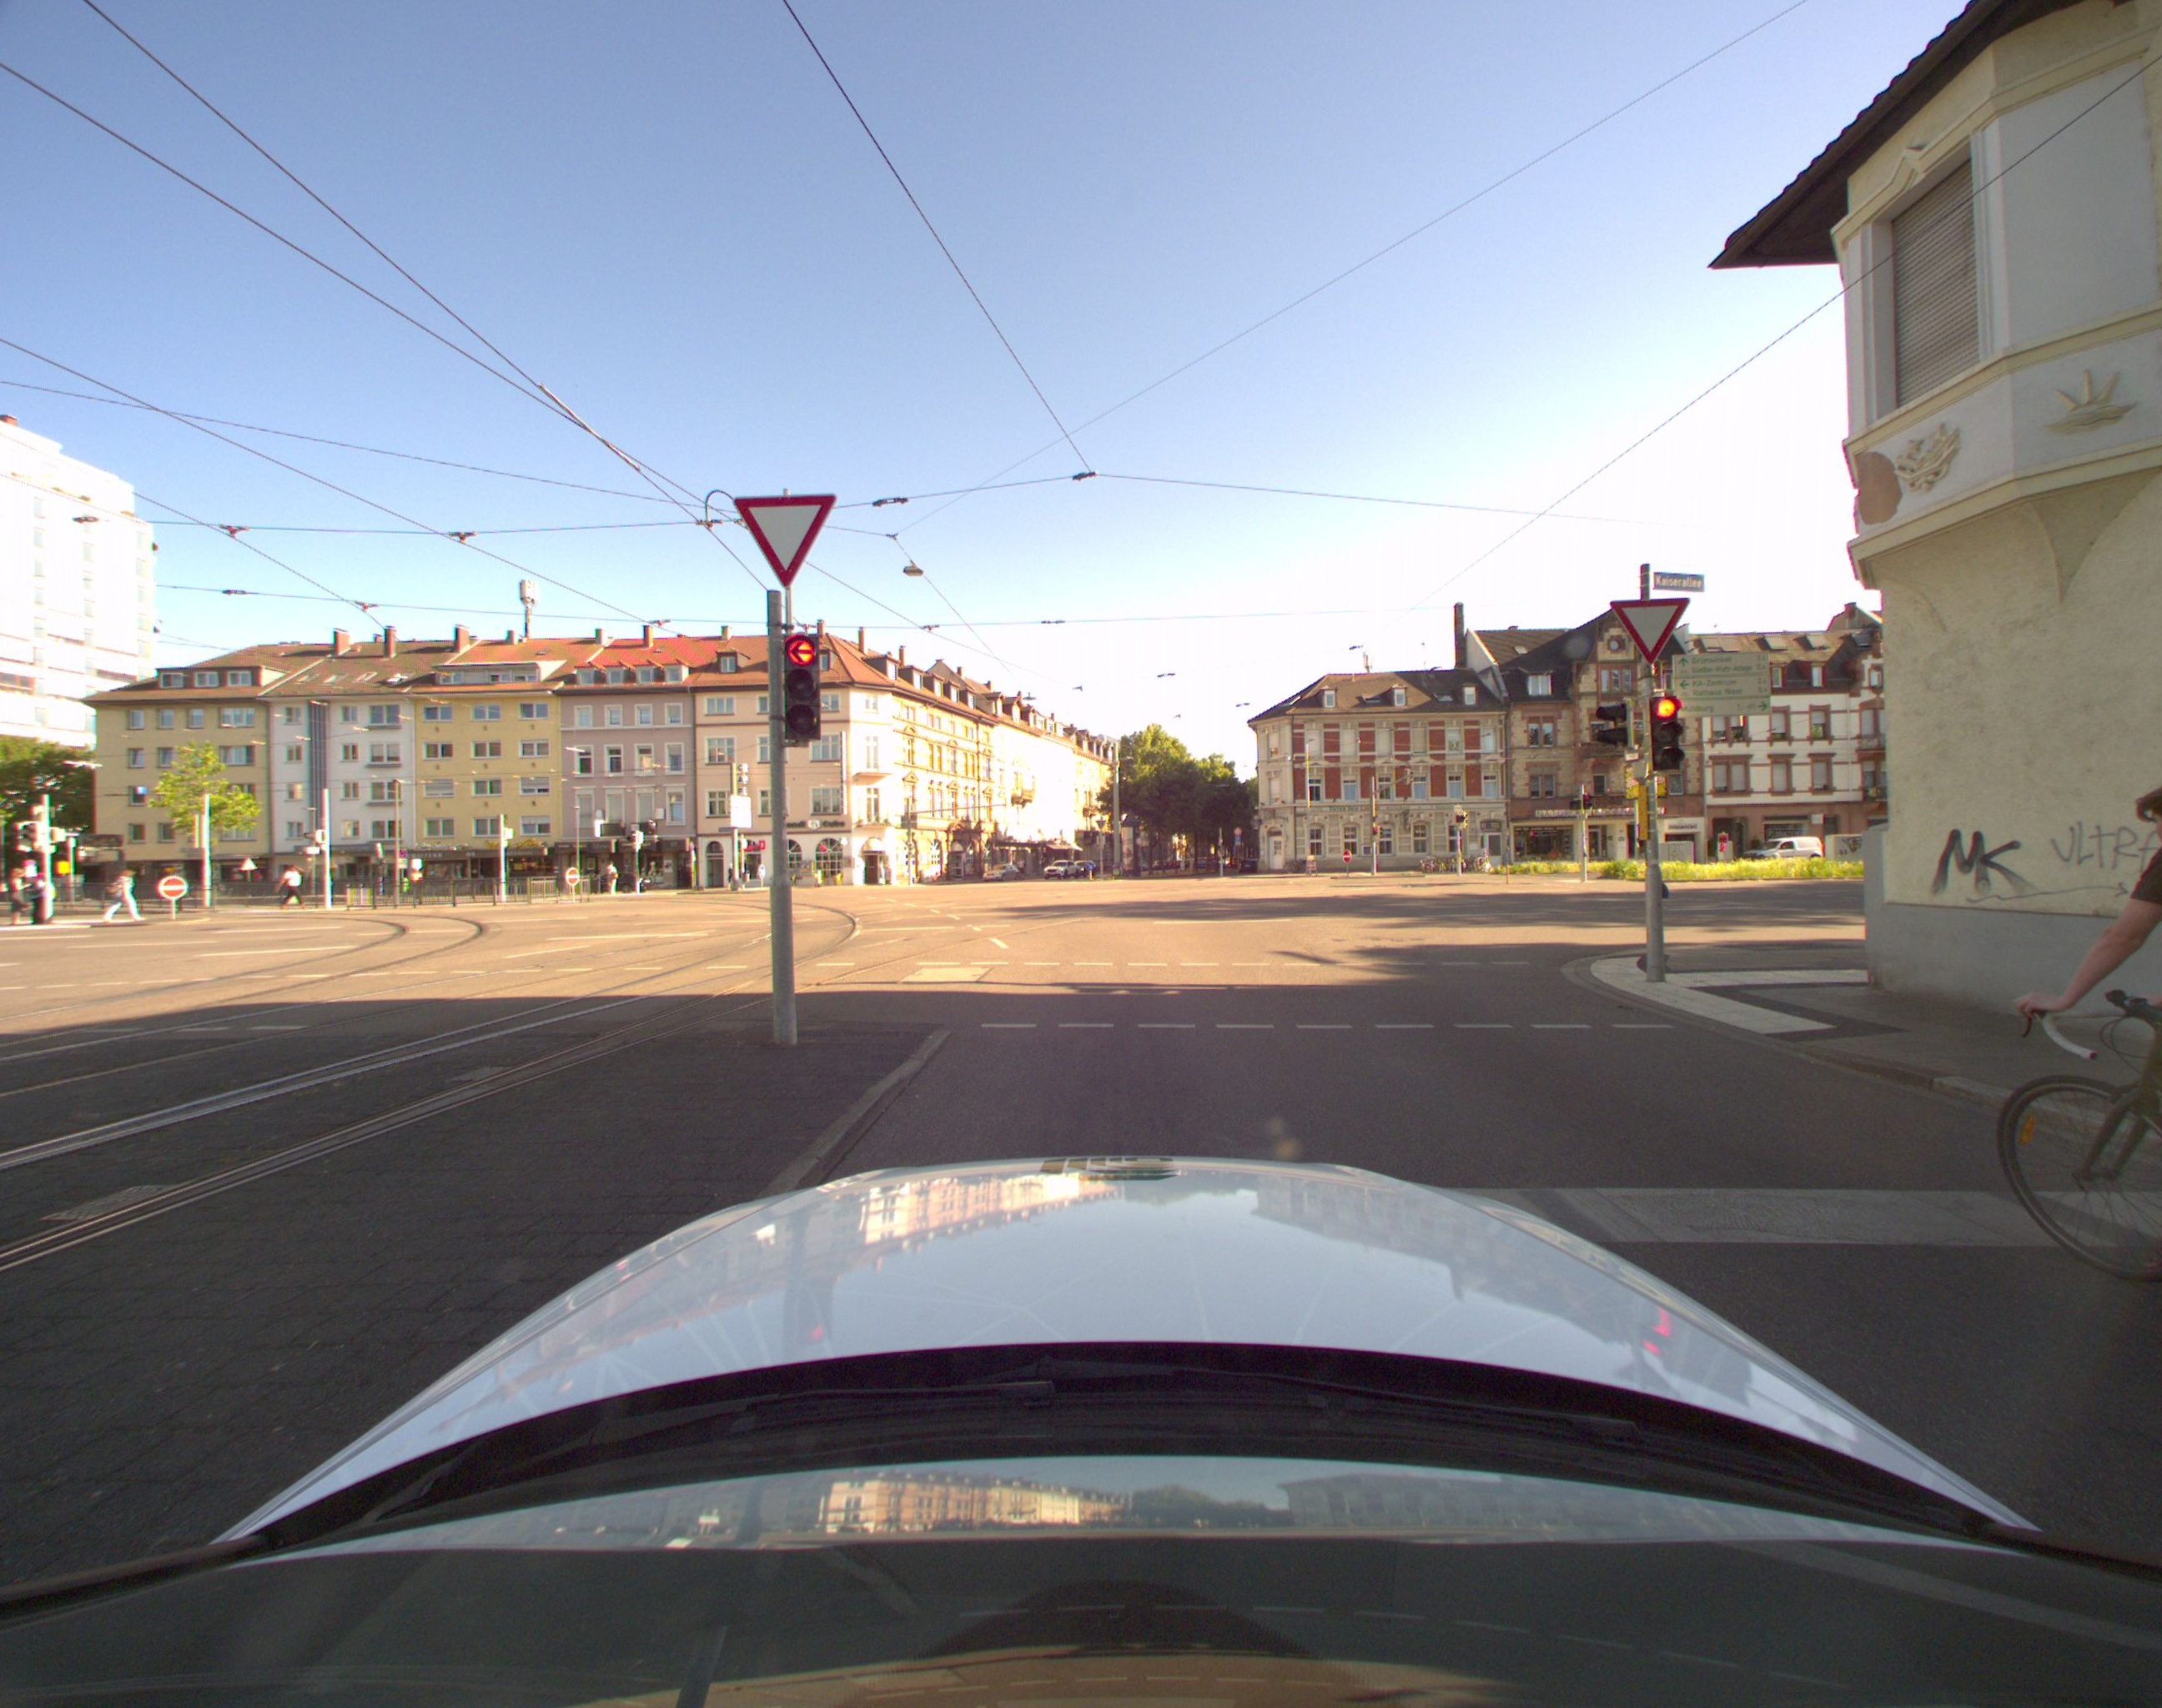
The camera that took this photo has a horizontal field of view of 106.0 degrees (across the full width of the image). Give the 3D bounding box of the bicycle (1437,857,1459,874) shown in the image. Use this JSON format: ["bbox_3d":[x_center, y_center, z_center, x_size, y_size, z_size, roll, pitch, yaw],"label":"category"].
[{"bbox_3d":[23.820,0.738,52.862,0.603,1.051,1.641,-1,0,-3],"label":"bicycle"}]

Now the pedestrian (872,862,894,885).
[{"bbox_3d":[-13.983,1.375,57.411,1.029,1.591,1.075,-2,0,36],"label":"pedestrian"}]

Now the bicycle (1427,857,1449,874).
[{"bbox_3d":[23.156,0.743,52.862,0.603,1.051,1.641,-1,0,-3],"label":"bicycle"}]

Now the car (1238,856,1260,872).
[{"bbox_3d":[16.915,1.002,82.045,1.637,1.524,3.772,-2,-1,20],"label":"car"}]

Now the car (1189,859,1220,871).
[{"bbox_3d":[17.498,1.539,114.986,4.078,1.646,1.754,1,0,17],"label":"car"}]

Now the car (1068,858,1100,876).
[{"bbox_3d":[0.300,1.159,73.687,1.979,1.513,4.015,-1,0,14],"label":"car"}]

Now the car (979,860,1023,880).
[{"bbox_3d":[-6.590,1.311,67.694,2.080,1.545,4.382,-1,0,16],"label":"car"}]

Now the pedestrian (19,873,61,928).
[{"bbox_3d":[-31.875,1.423,24.957,0.789,1.625,0.716,-2,0,42],"label":"pedestrian"}]

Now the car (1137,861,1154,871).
[{"bbox_3d":[9.189,1.699,115.766,1.729,1.397,4.137,1,0,12],"label":"car"}]

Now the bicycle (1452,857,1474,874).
[{"bbox_3d":[24.646,0.729,52.562,0.603,1.051,1.641,-1,0,-3],"label":"bicycle"}]

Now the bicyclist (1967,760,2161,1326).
[{"bbox_3d":[3.582,0.577,2.490,0.557,1.730,1.084,0,-1,2],"label":"bicyclist"}]

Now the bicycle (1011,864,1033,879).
[{"bbox_3d":[-4.761,1.437,65.894,0.745,1.135,2.821,-1,0,16],"label":"bicycle"}]

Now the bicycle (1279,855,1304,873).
[{"bbox_3d":[14.703,0.698,56.932,1.625,1.222,0.609,-1,0,18],"label":"bicycle"}]

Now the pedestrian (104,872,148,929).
[{"bbox_3d":[-29.353,1.415,25.029,0.548,1.698,0.751,-2,0,26],"label":"pedestrian"}]

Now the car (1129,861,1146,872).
[{"bbox_3d":[7.614,1.663,109.996,1.729,1.397,4.137,1,0,12],"label":"car"}]

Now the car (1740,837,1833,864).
[{"bbox_3d":[45.391,-0.222,52.463,4.356,1.654,1.999,-1,0,-2],"label":"car"}]

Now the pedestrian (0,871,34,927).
[{"bbox_3d":[-33.016,1.371,25.277,0.499,1.698,0.552,-1,-1,-39],"label":"pedestrian"}]

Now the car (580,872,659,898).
[{"bbox_3d":[-30.267,1.995,53.529,3.978,1.464,1.998,-2,0,-4],"label":"car"}]

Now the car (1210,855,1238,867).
[{"bbox_3d":[23.386,1.102,133.064,4.074,1.919,1.756,1,0,23],"label":"car"}]

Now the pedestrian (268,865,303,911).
[{"bbox_3d":[-29.999,1.266,30.707,0.772,1.698,0.702,-2,0,27],"label":"pedestrian"}]

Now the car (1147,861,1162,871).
[{"bbox_3d":[11.077,1.742,122.702,1.729,1.397,4.137,1,0,12],"label":"car"}]

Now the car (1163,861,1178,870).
[{"bbox_3d":[14.455,1.826,131.450,1.728,1.397,4.141,1,0,16],"label":"car"}]

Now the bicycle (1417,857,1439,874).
[{"bbox_3d":[22.503,0.747,52.832,0.603,1.051,1.641,-1,0,-3],"label":"bicycle"}]

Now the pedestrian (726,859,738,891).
[{"bbox_3d":[-22.771,1.361,53.118,0.506,2.013,0.505,-1,0,5],"label":"pedestrian"}]

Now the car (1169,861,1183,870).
[{"bbox_3d":[15.878,1.850,136.197,1.728,1.397,4.141,1,0,16],"label":"car"}]

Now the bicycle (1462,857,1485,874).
[{"bbox_3d":[25.321,0.725,52.611,0.603,1.051,1.641,-1,0,-3],"label":"bicycle"}]

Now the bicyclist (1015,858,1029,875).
[{"bbox_3d":[-4.758,0.993,65.865,0.787,1.375,1.113,-1,0,16],"label":"bicyclist"}]

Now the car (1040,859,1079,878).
[{"bbox_3d":[-1.722,1.170,67.364,2.080,1.499,4.017,-1,0,16],"label":"car"}]

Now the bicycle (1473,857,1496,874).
[{"bbox_3d":[26.060,0.719,52.604,0.603,1.051,1.641,-1,0,-3],"label":"bicycle"}]

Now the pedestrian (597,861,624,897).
[{"bbox_3d":[-24.564,1.313,42.552,0.871,1.818,0.811,-1,0,2],"label":"pedestrian"}]

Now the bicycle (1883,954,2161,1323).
[{"bbox_3d":[3.585,0.931,2.502,0.530,1.016,1.759,-1,0,2],"label":"bicycle"}]
